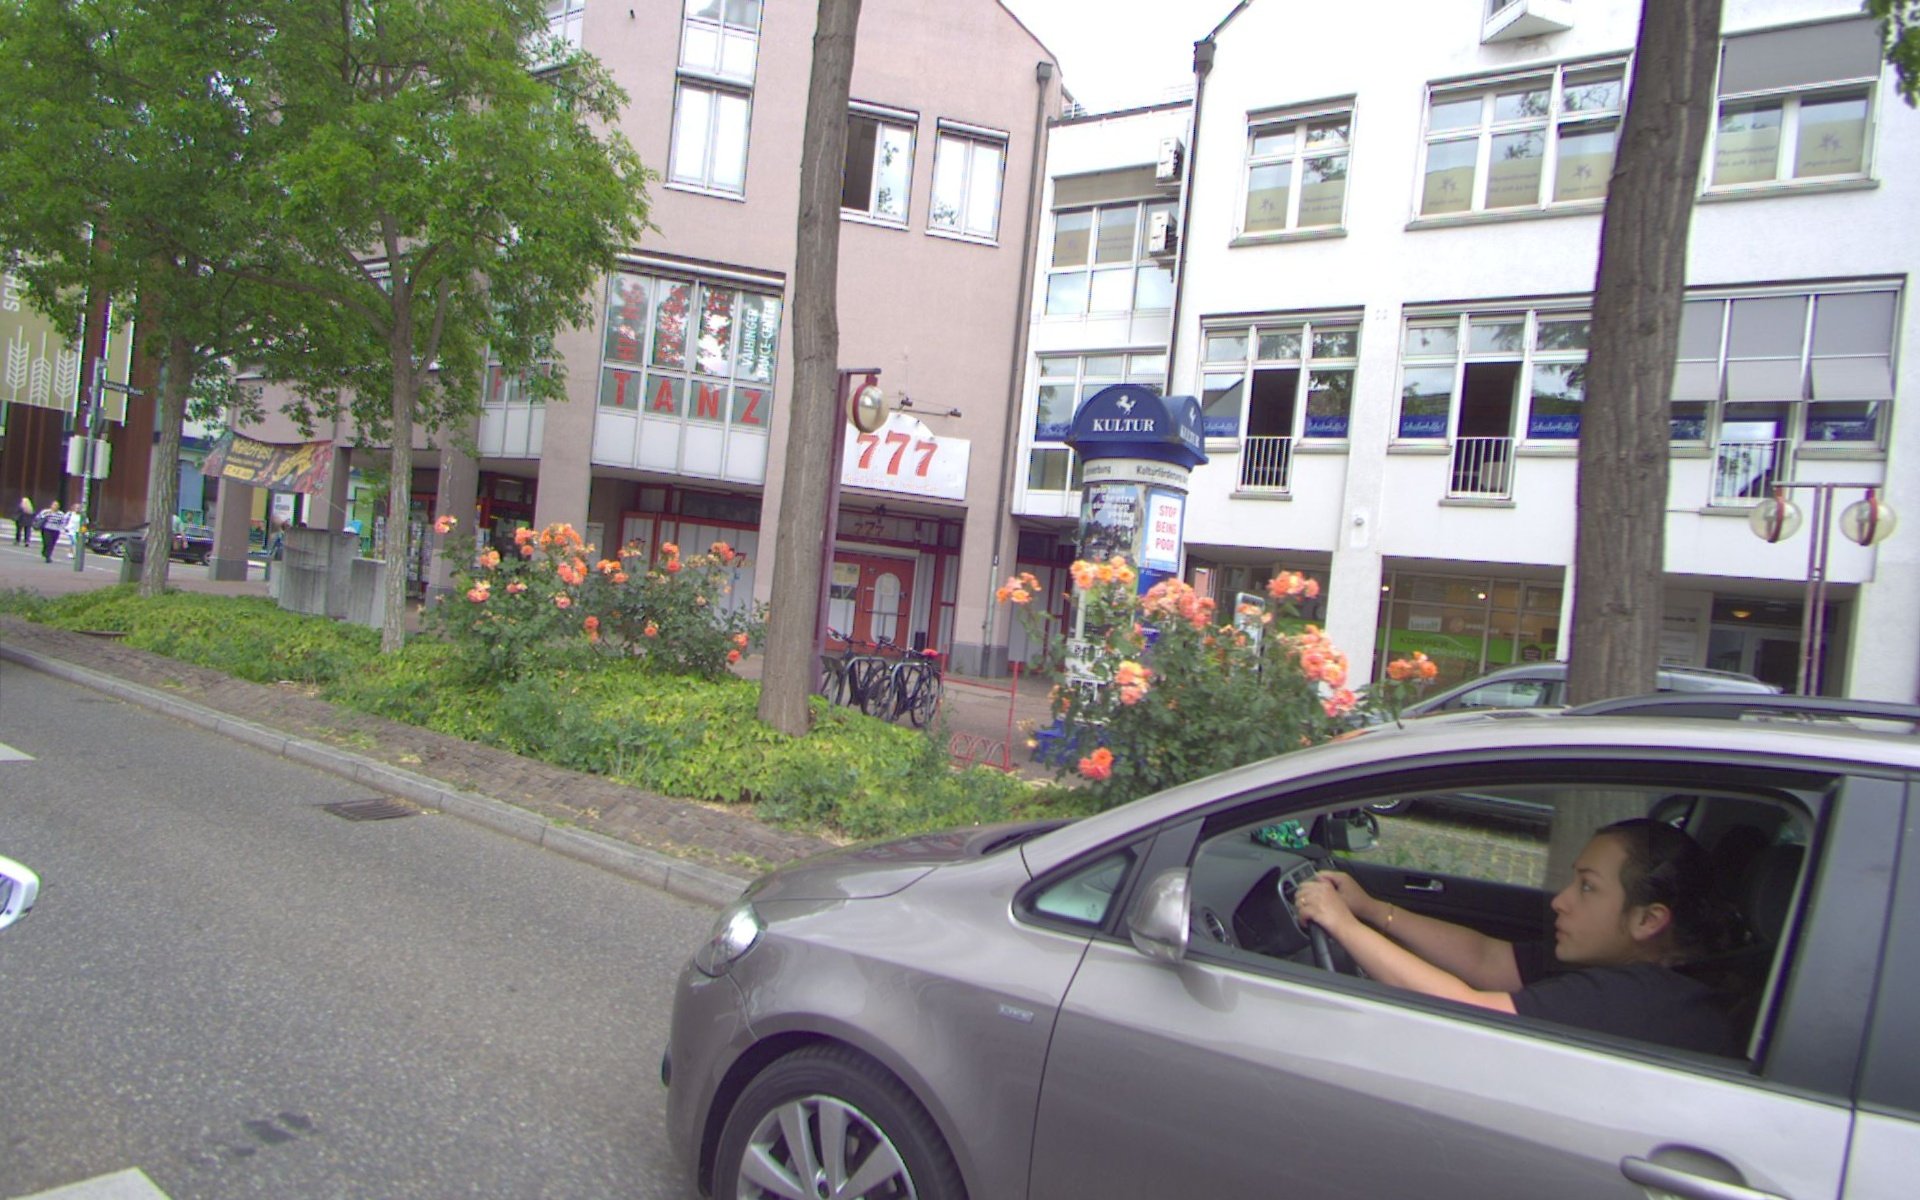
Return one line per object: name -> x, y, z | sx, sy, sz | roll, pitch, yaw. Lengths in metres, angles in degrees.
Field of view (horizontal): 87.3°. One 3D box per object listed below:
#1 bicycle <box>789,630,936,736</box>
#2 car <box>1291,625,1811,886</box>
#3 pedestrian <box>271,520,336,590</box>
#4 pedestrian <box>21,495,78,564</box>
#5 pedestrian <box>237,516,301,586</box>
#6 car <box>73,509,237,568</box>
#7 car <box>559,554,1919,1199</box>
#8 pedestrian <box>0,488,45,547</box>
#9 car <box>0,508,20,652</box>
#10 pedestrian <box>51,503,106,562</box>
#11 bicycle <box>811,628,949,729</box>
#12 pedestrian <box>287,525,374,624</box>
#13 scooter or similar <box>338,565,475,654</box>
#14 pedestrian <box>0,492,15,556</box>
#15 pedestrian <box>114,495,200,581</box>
bicycle -> -1.132, 0.970, 11.686 | 1.546, 1.061, 0.405 | 7, 1, -17
car -> 5.888, 1.425, 10.541 | 4.188, 1.827, 1.736 | 6, 1, 29
pedestrian -> -16.643, -1.143, 25.516 | 1.040, 1.604, 0.832 | 7, 0, 27
pedestrian -> -23.968, -1.850, 26.486 | 0.937, 1.647, 0.742 | 7, 1, 28
pedestrian -> -17.012, -1.205, 24.771 | 0.952, 1.577, 0.831 | 7, 0, 27
car -> -28.892, -2.168, 36.236 | 1.770, 1.420, 4.182 | 7, -1, 28
car -> 1.275, 0.944, 2.107 | 3.934, 1.547, 1.801 | 7, -2, 32
pedestrian -> -30.944, -2.711, 33.042 | 1.101, 1.789, 0.880 | 7, 1, 28
car -> -10.241, -0.310, 9.022 | 3.581, 1.465, 1.630 | 6, -2, 31
pedestrian -> -26.271, -2.011, 29.990 | 1.021, 1.615, 0.823 | 7, 0, 28
bicycle -> -0.979, 0.969, 12.357 | 1.546, 1.061, 0.405 | 7, 1, -17
pedestrian -> -11.420, -0.456, 18.255 | 1.075, 1.647, 0.809 | 7, 1, 29
scooter or similar -> -8.119, 0.141, 14.755 | 1.852, 1.101, 0.471 | 6, 1, 14
pedestrian -> -25.800, -2.065, 26.666 | 0.937, 1.647, 0.742 | 7, 1, 28
pedestrian -> -17.973, -1.384, 22.514 | 1.091, 1.736, 1.057 | 7, 0, 30
